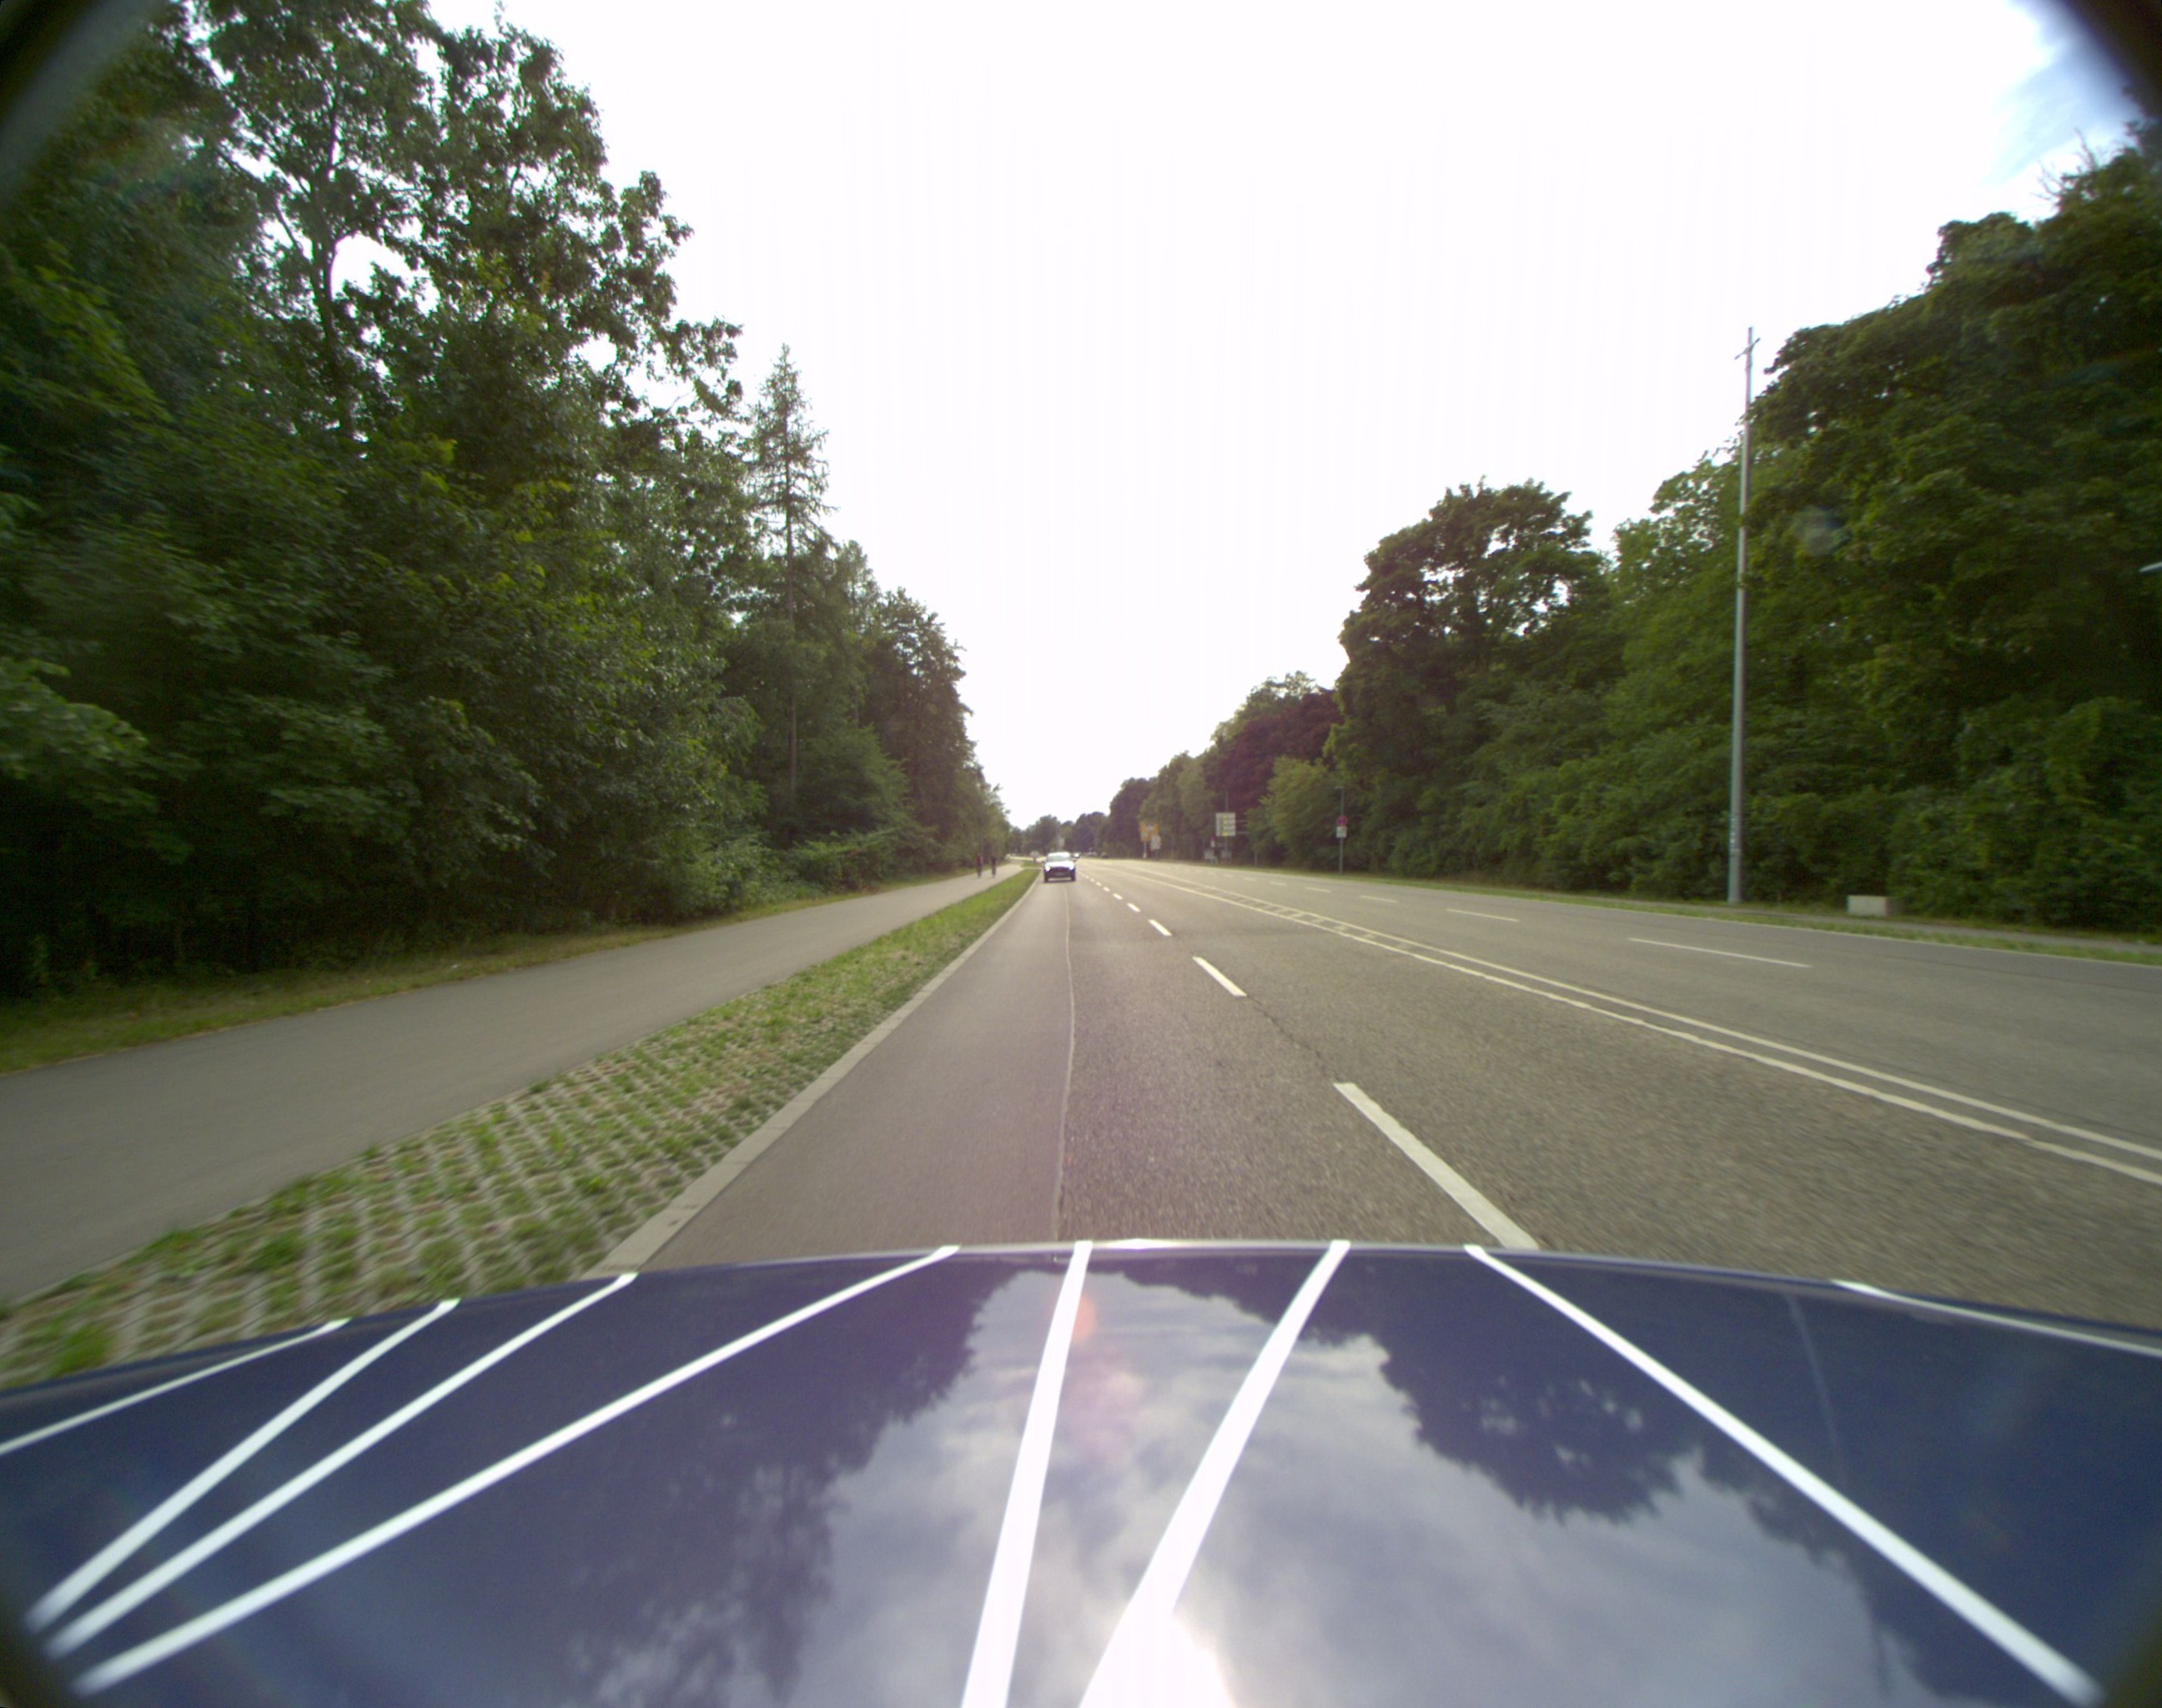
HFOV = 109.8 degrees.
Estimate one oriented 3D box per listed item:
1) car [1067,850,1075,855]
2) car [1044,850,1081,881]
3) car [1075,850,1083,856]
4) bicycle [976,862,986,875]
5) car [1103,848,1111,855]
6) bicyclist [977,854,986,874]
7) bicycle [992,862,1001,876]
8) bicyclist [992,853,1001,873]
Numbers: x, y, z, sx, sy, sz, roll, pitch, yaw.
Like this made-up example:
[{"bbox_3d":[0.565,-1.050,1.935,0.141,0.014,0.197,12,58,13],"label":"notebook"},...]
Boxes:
[{"bbox_3d":[-3.237,-0.534,244.798,1.940,1.492,4.588,-3,1,-5],"label":"car"},{"bbox_3d":[-1.106,0.630,44.943,1.999,1.565,3.998,-3,1,-2],"label":"car"},{"bbox_3d":[-0.702,-0.331,249.320,1.999,1.585,3.997,-3,1,-6],"label":"car"},{"bbox_3d":[-7.210,1.069,54.789,0.567,0.906,1.886,2,0,-4],"label":"bicycle"},{"bbox_3d":[6.468,-0.675,190.037,1.746,1.467,3.998,-3,1,-2],"label":"car"},{"bbox_3d":[-7.183,0.696,54.898,0.521,1.407,1.186,-3,1,-4],"label":"bicyclist"},{"bbox_3d":[-6.100,1.071,54.900,0.567,0.906,1.753,1,1,-4],"label":"bicycle"},{"bbox_3d":[-6.094,0.664,54.925,0.521,1.407,1.186,-1,1,-4],"label":"bicyclist"}]
